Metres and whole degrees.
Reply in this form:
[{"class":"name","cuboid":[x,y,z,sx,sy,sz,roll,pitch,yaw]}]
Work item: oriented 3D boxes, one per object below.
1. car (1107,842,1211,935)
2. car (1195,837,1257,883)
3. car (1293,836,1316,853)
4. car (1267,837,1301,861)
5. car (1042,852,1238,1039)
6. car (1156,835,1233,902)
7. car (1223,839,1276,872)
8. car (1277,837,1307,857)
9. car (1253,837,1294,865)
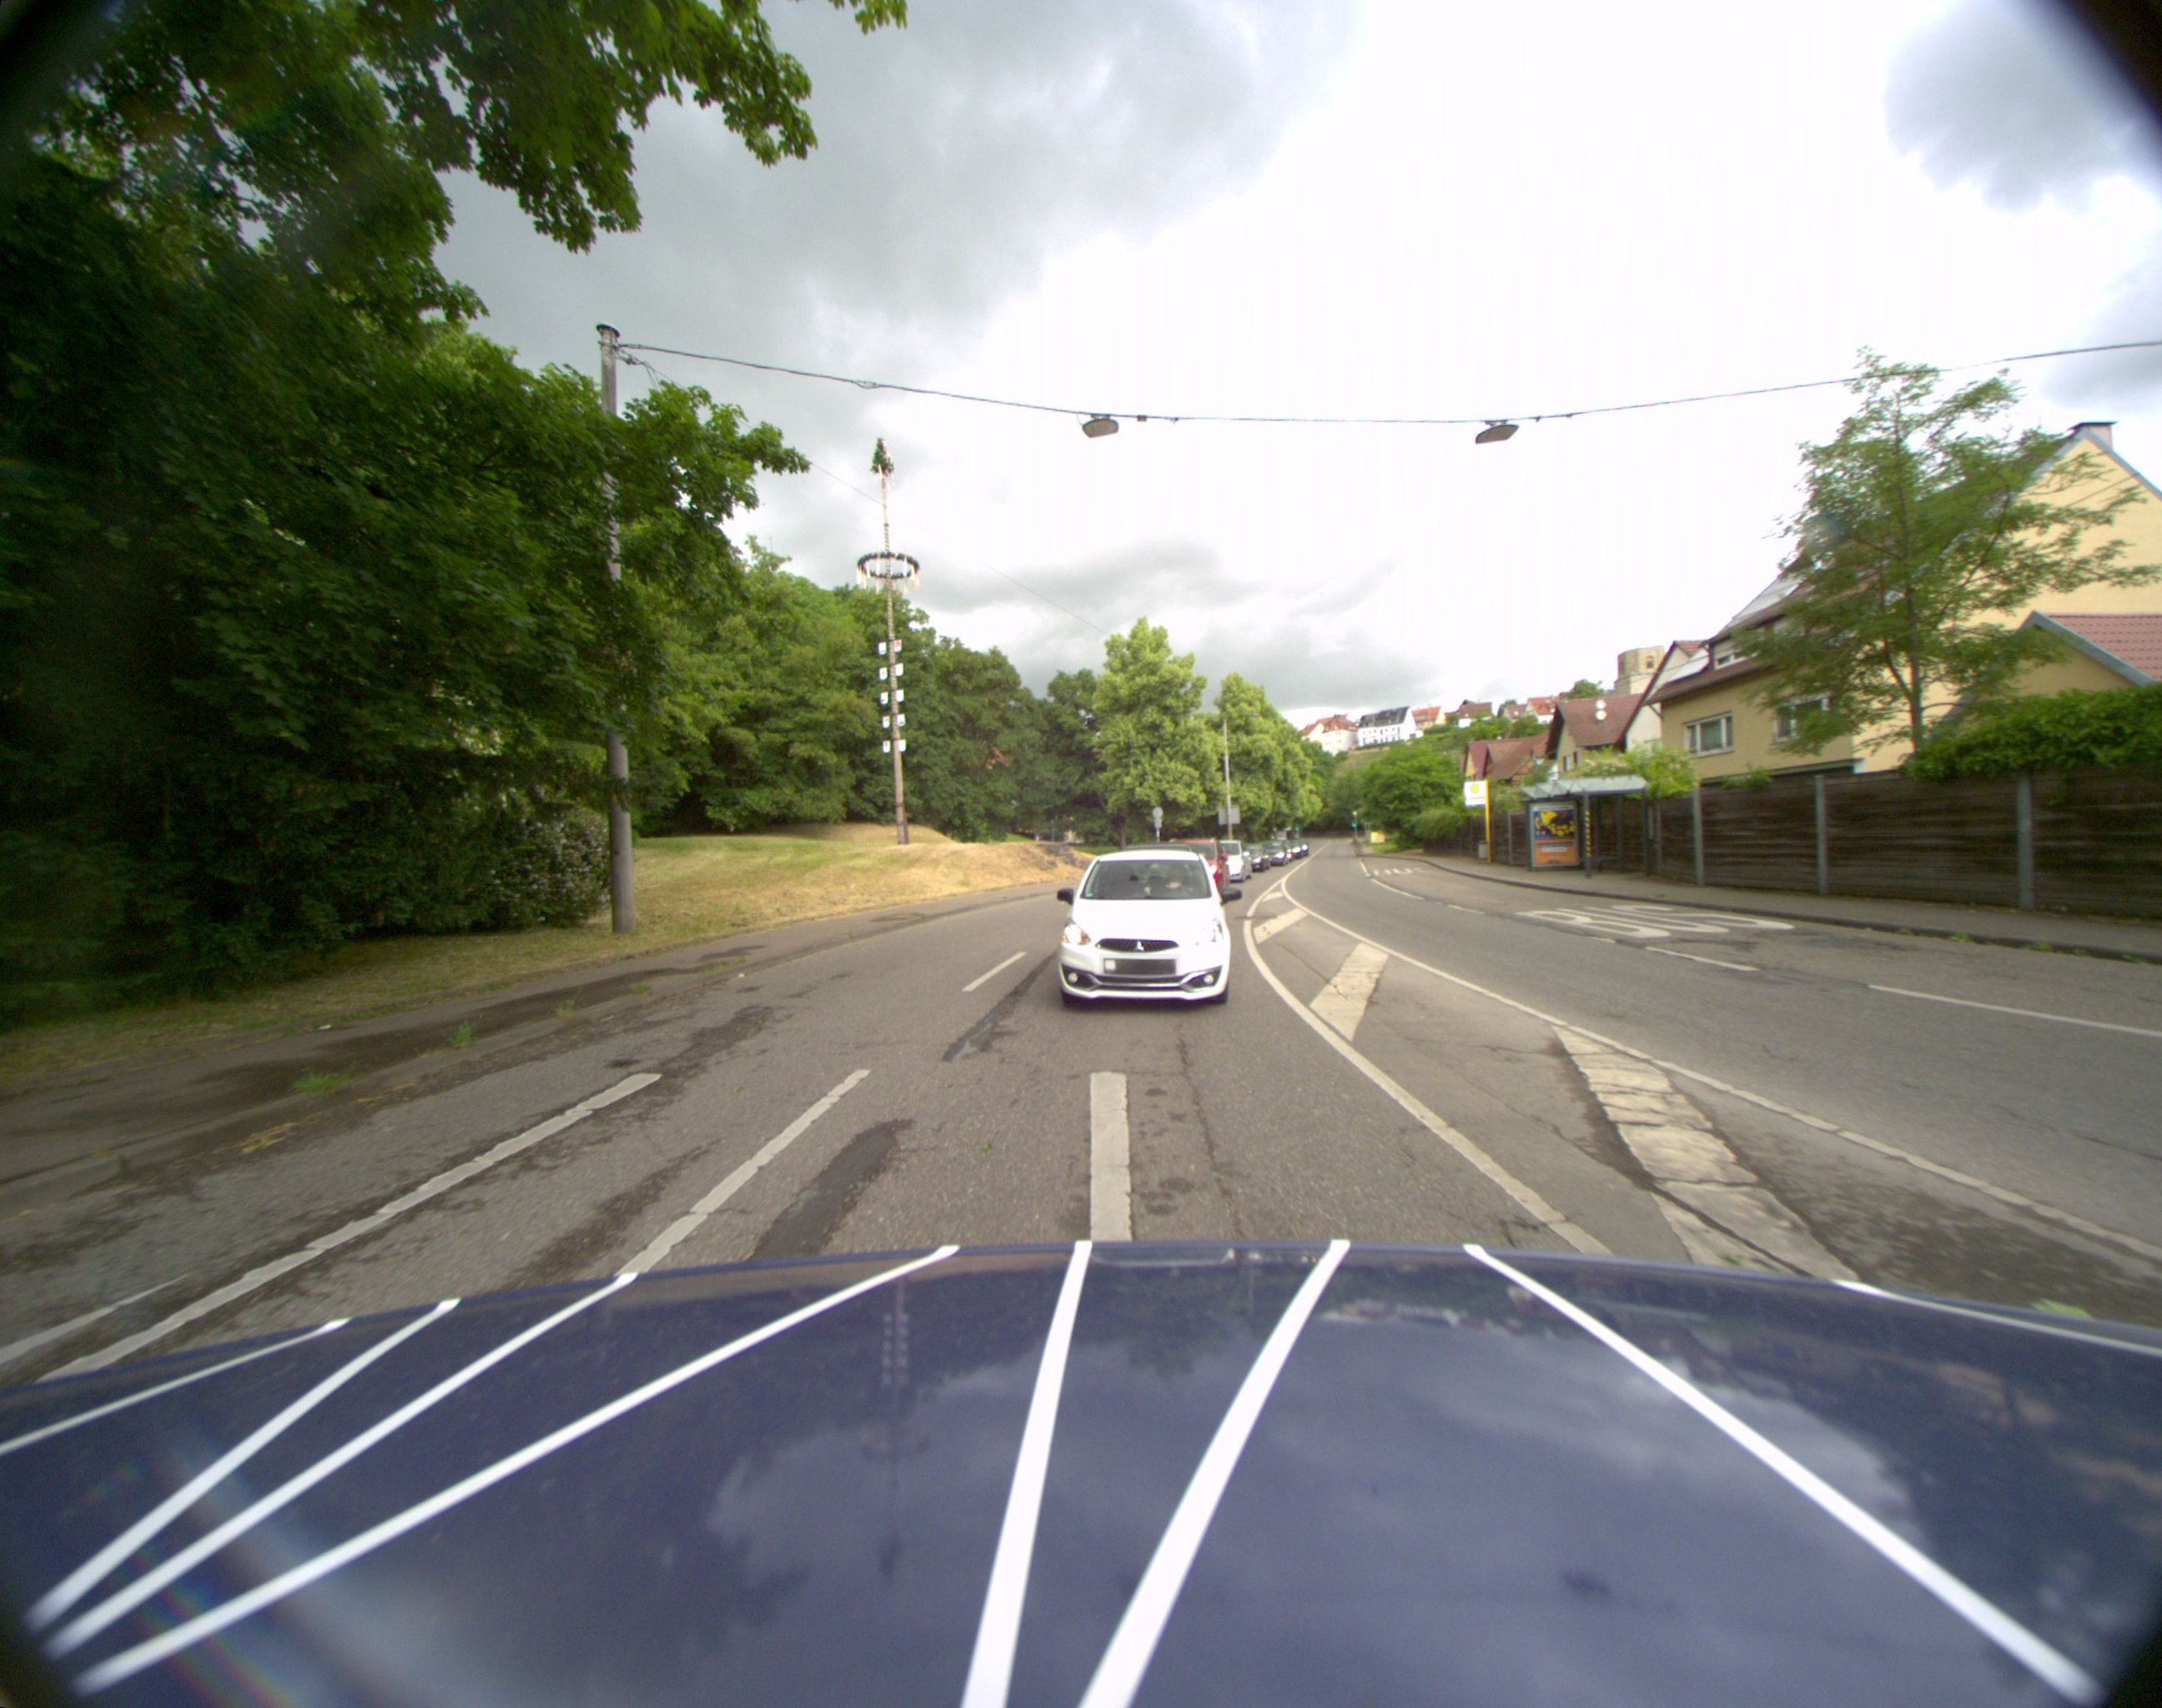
[{"class":"car","cuboid":[1.667,0.580,15.012,1.729,1.512,4.002,-2,1,10]},{"class":"car","cuboid":[5.618,0.181,29.099,1.780,1.560,4.004,-1,1,19]},{"class":"car","cuboid":[18.003,-0.788,61.088,1.417,1.242,3.300,-1,1,22]},{"class":"car","cuboid":[13.299,-0.374,49.630,1.704,1.438,3.872,-1,1,21]},{"class":"car","cuboid":[0.760,0.795,8.493,1.627,1.500,4.001,-2,1,8]},{"class":"car","cuboid":[3.285,0.335,21.370,1.673,1.632,4.104,-2,1,14]},{"class":"car","cuboid":[8.328,0.051,37.332,1.851,1.449,4.005,-1,1,22]},{"class":"car","cuboid":[15.228,-0.525,54.659,1.642,1.262,3.630,-1,1,22]},{"class":"car","cuboid":[11.031,-0.198,43.417,1.694,1.403,3.987,-1,1,22]}]
